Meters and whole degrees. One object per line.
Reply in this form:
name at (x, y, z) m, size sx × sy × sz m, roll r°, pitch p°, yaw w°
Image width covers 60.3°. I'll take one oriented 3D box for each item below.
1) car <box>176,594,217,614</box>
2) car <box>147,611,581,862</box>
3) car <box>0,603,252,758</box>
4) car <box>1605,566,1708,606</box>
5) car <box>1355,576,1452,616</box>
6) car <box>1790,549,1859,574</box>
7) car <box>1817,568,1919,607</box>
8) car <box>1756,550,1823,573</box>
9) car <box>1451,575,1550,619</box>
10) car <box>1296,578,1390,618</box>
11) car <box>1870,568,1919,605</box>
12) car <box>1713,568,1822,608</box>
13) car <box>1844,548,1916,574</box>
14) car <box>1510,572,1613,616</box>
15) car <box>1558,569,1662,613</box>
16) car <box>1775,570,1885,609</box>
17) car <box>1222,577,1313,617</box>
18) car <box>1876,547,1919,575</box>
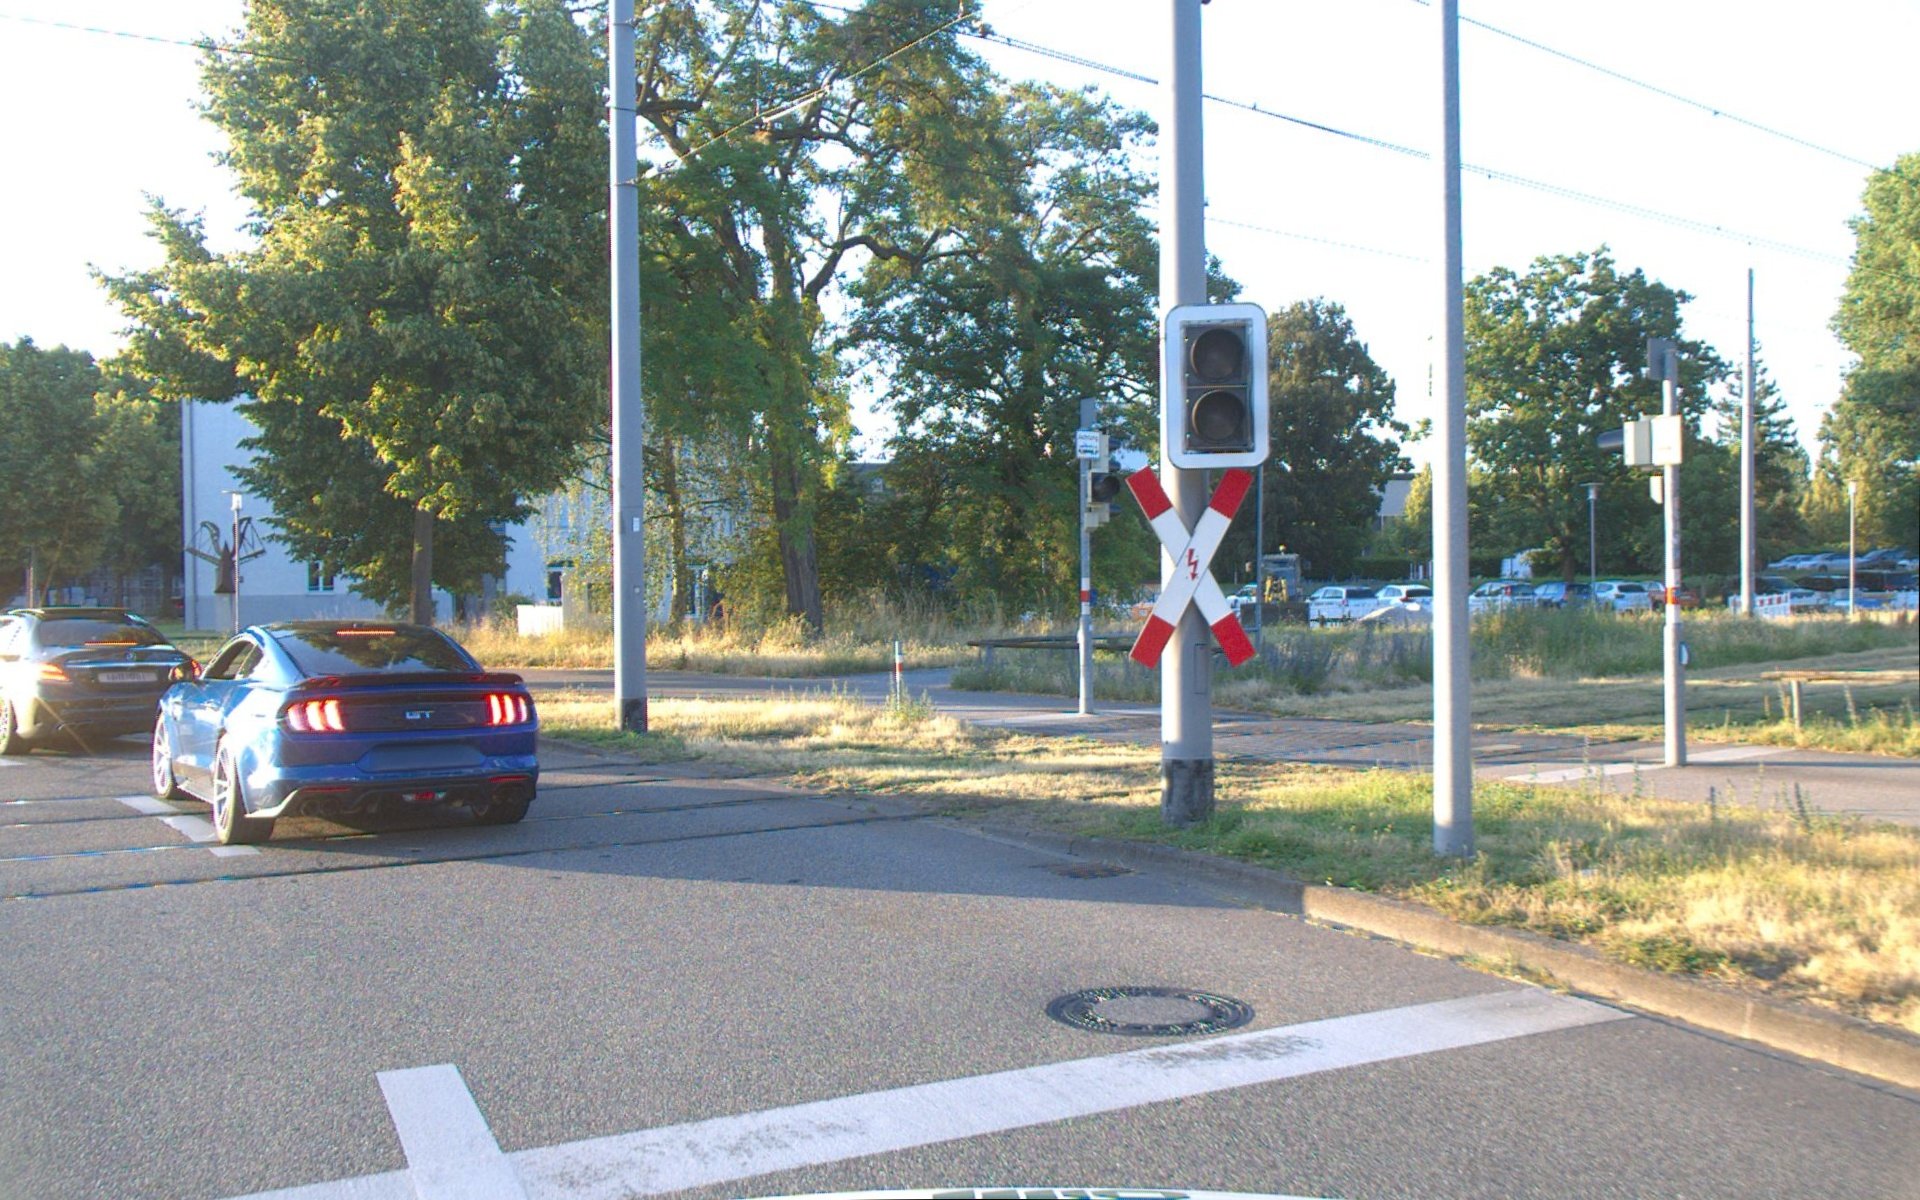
car at (-55.561, 0.273, 120.381) m, size 1.842 × 1.426 × 3.905 m, roll -1°, pitch 1°, yaw -11°
car at (-4.423, 0.781, 11.769) m, size 1.933 × 1.365 × 4.617 m, roll 0°, pitch 0°, yaw -33°
car at (-9.493, 0.760, 17.689) m, size 4.351 × 1.452 × 1.945 m, roll 0°, pitch 0°, yaw 43°
car at (28.705, -0.559, 68.266) m, size 1.866 × 1.581 × 3.983 m, roll -1°, pitch 0°, yaw -16°
car at (17.353, -0.150, 64.858) m, size 1.915 × 1.471 × 3.983 m, roll -1°, pitch 0°, yaw -16°
car at (59.663, -2.652, 114.197) m, size 3.917 × 1.581 × 1.898 m, roll -1°, pitch 0°, yaw -12°
car at (38.448, -0.509, 69.796) m, size 1.866 × 1.581 × 3.983 m, roll -1°, pitch 0°, yaw -16°
car at (58.917, -2.735, 117.532) m, size 3.917 × 1.581 × 1.898 m, roll -1°, pitch 0°, yaw -12°
car at (21.728, -0.125, 66.680) m, size 1.915 × 1.691 × 3.983 m, roll -1°, pitch 0°, yaw -16°
car at (14.918, -0.087, 64.582) m, size 1.915 × 1.471 × 3.983 m, roll -1°, pitch 0°, yaw -16°
car at (41.044, -0.589, 70.328) m, size 1.866 × 1.581 × 3.983 m, roll -1°, pitch 0°, yaw -16°
car at (33.562, -0.486, 68.860) m, size 1.866 × 1.581 × 4.081 m, roll -1°, pitch 0°, yaw -16°
car at (60.623, -2.557, 108.983) m, size 3.917 × 1.581 × 1.898 m, roll -1°, pitch 0°, yaw -12°
car at (24.229, -0.246, 66.766) m, size 1.915 × 1.691 × 3.983 m, roll -1°, pitch 0°, yaw -16°
car at (26.366, -0.365, 67.228) m, size 1.915 × 1.691 × 3.983 m, roll -1°, pitch 0°, yaw -16°
car at (36.372, -0.435, 69.245) m, size 1.866 × 1.581 × 3.983 m, roll -1°, pitch 0°, yaw -16°
car at (11.904, -0.109, 64.224) m, size 1.915 × 1.471 × 3.983 m, roll -1°, pitch 0°, yaw -16°
car at (61.106, -2.533, 105.992) m, size 3.919 × 1.775 × 1.993 m, roll -1°, pitch 1°, yaw -14°
